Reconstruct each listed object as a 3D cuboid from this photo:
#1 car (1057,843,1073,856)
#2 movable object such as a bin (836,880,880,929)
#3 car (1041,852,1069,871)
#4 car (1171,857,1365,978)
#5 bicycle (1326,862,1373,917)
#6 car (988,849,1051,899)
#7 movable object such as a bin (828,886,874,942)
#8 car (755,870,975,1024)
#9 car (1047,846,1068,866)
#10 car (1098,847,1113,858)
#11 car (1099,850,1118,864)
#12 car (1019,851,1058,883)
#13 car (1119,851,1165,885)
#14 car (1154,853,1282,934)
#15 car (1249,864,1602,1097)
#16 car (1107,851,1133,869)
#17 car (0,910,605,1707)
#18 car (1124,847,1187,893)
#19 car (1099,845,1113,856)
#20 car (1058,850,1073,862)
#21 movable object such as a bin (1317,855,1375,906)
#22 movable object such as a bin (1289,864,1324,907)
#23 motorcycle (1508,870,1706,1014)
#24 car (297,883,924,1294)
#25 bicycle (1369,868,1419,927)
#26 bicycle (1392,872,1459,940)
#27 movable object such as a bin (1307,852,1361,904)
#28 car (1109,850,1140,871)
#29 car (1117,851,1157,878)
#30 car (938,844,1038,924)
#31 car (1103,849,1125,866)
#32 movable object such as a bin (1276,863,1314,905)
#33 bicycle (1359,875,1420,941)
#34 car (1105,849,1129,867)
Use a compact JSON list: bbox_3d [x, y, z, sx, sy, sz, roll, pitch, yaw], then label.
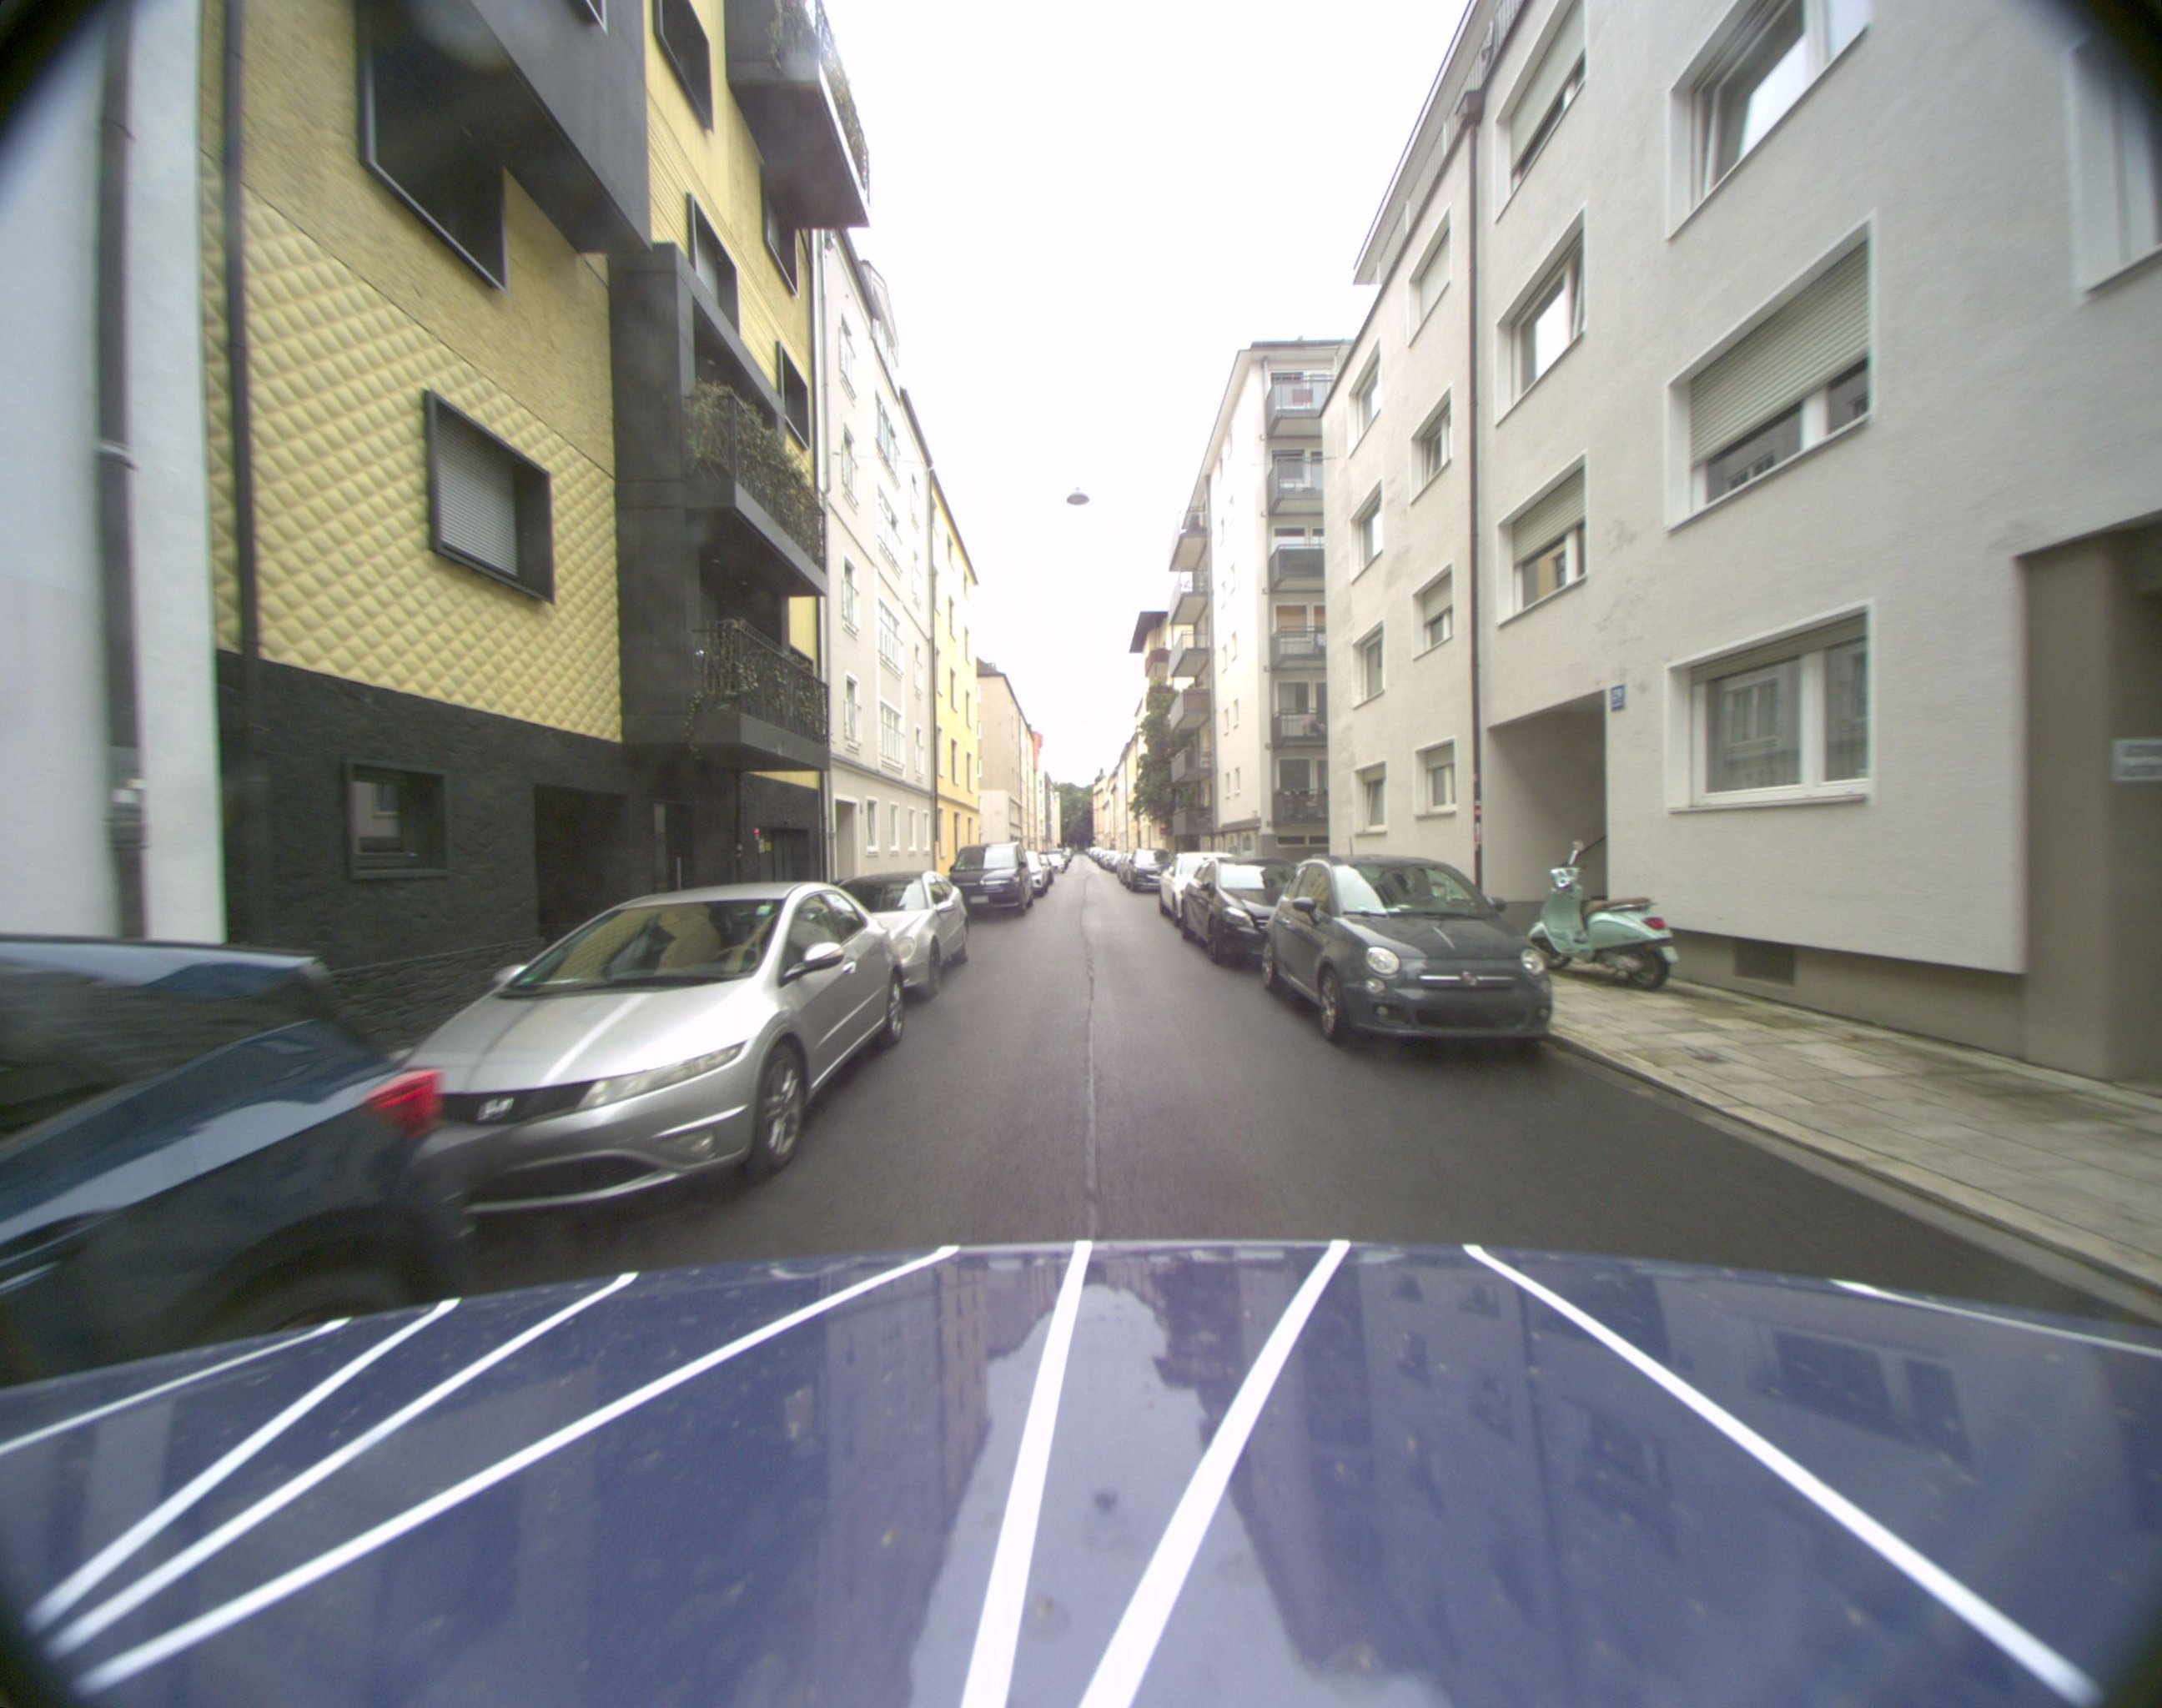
[{"bbox_3d":[-1.953,-0.582,96.137,1.896,1.621,4.295,-1,1,0],"label":"car"},{"bbox_3d":[-4.990,1.118,17.054,0.797,1.048,0.546,-1,1,-1],"label":"movable object such as a bin"},{"bbox_3d":[-1.974,0.561,58.410,1.972,1.369,4.295,-1,1,0],"label":"car"},{"bbox_3d":[2.580,0.797,11.559,1.805,1.409,4.225,-1,1,-2],"label":"car"},{"bbox_3d":[5.990,0.771,17.003,0.342,1.132,1.683,-1,1,-4],"label":"bicycle"},{"bbox_3d":[-2.209,0.660,28.415,1.966,1.665,4.540,-1,1,0],"label":"car"},{"bbox_3d":[-4.971,1.293,16.479,0.797,1.133,0.573,-1,1,-1],"label":"movable object such as a bin"},{"bbox_3d":[-2.541,1.015,10.025,1.739,1.421,4.201,-1,1,-1],"label":"car"},{"bbox_3d":[-2.225,0.185,73.462,1.896,1.859,4.295,-1,1,0],"label":"car"},{"bbox_3d":[3.217,-0.188,100.056,1.896,1.444,4.295,-1,1,0],"label":"car"},{"bbox_3d":[3.040,0.283,83.622,1.896,1.444,4.295,-1,1,0],"label":"car"},{"bbox_3d":[-2.120,0.639,38.743,1.691,1.496,3.856,-1,1,0],"label":"car"},{"bbox_3d":[2.791,0.609,35.744,1.818,1.433,4.295,-1,1,0],"label":"car"},{"bbox_3d":[2.805,0.739,16.652,1.917,1.429,4.808,-1,1,0],"label":"car"},{"bbox_3d":[2.720,0.874,6.980,1.615,1.438,3.743,1,1,2],"label":"car"},{"bbox_3d":[3.068,0.455,60.520,1.769,1.369,4.295,-1,1,0],"label":"car"},{"bbox_3d":[-2.572,1.004,0.215,1.910,1.545,4.624,-1,1,0],"label":"car"},{"bbox_3d":[2.823,0.568,29.746,1.972,1.598,4.539,-1,1,0],"label":"car"},{"bbox_3d":[3.622,-0.522,109.684,1.896,1.444,4.295,-1,1,0],"label":"car"},{"bbox_3d":[-2.073,0.246,104.798,1.896,1.621,4.295,-1,1,0],"label":"car"},{"bbox_3d":[6.855,0.665,19.700,1.123,1.256,1.097,-1,1,1],"label":"movable object such as a bin"},{"bbox_3d":[5.815,0.800,19.631,0.692,1.070,0.604,-1,1,-5],"label":"movable object such as a bin"},{"bbox_3d":[5.167,0.792,7.632,0.601,1.196,1.857,-1,1,-4],"label":"motorcycle"},{"bbox_3d":[-2.440,1.084,5.387,1.764,1.423,4.260,-4,1,-1],"label":"car"},{"bbox_3d":[5.824,0.783,14.196,0.380,1.011,1.441,0,1,1],"label":"bicycle"},{"bbox_3d":[5.687,0.835,12.622,0.399,1.011,1.574,0,1,0],"label":"bicycle"},{"bbox_3d":[6.910,0.646,20.816,1.114,1.346,1.104,-1,1,1],"label":"movable object such as a bin"},{"bbox_3d":[3.117,0.442,54.989,1.972,1.369,4.295,-1,1,0],"label":"car"},{"bbox_3d":[3.150,0.568,43.499,1.972,1.391,4.295,-1,1,0],"label":"car"},{"bbox_3d":[-2.372,0.686,20.754,1.987,1.828,5.183,-3,1,0],"label":"car"},{"bbox_3d":[3.046,0.298,71.530,1.896,1.444,4.295,-1,1,0],"label":"car"},{"bbox_3d":[5.697,0.788,20.259,0.770,1.070,0.634,-1,1,-5],"label":"movable object such as a bin"},{"bbox_3d":[5.254,0.888,13.032,0.388,1.011,1.624,0,1,0],"label":"bicycle"},{"bbox_3d":[3.103,0.320,65.952,1.896,1.444,4.295,-1,1,0],"label":"car"}]
